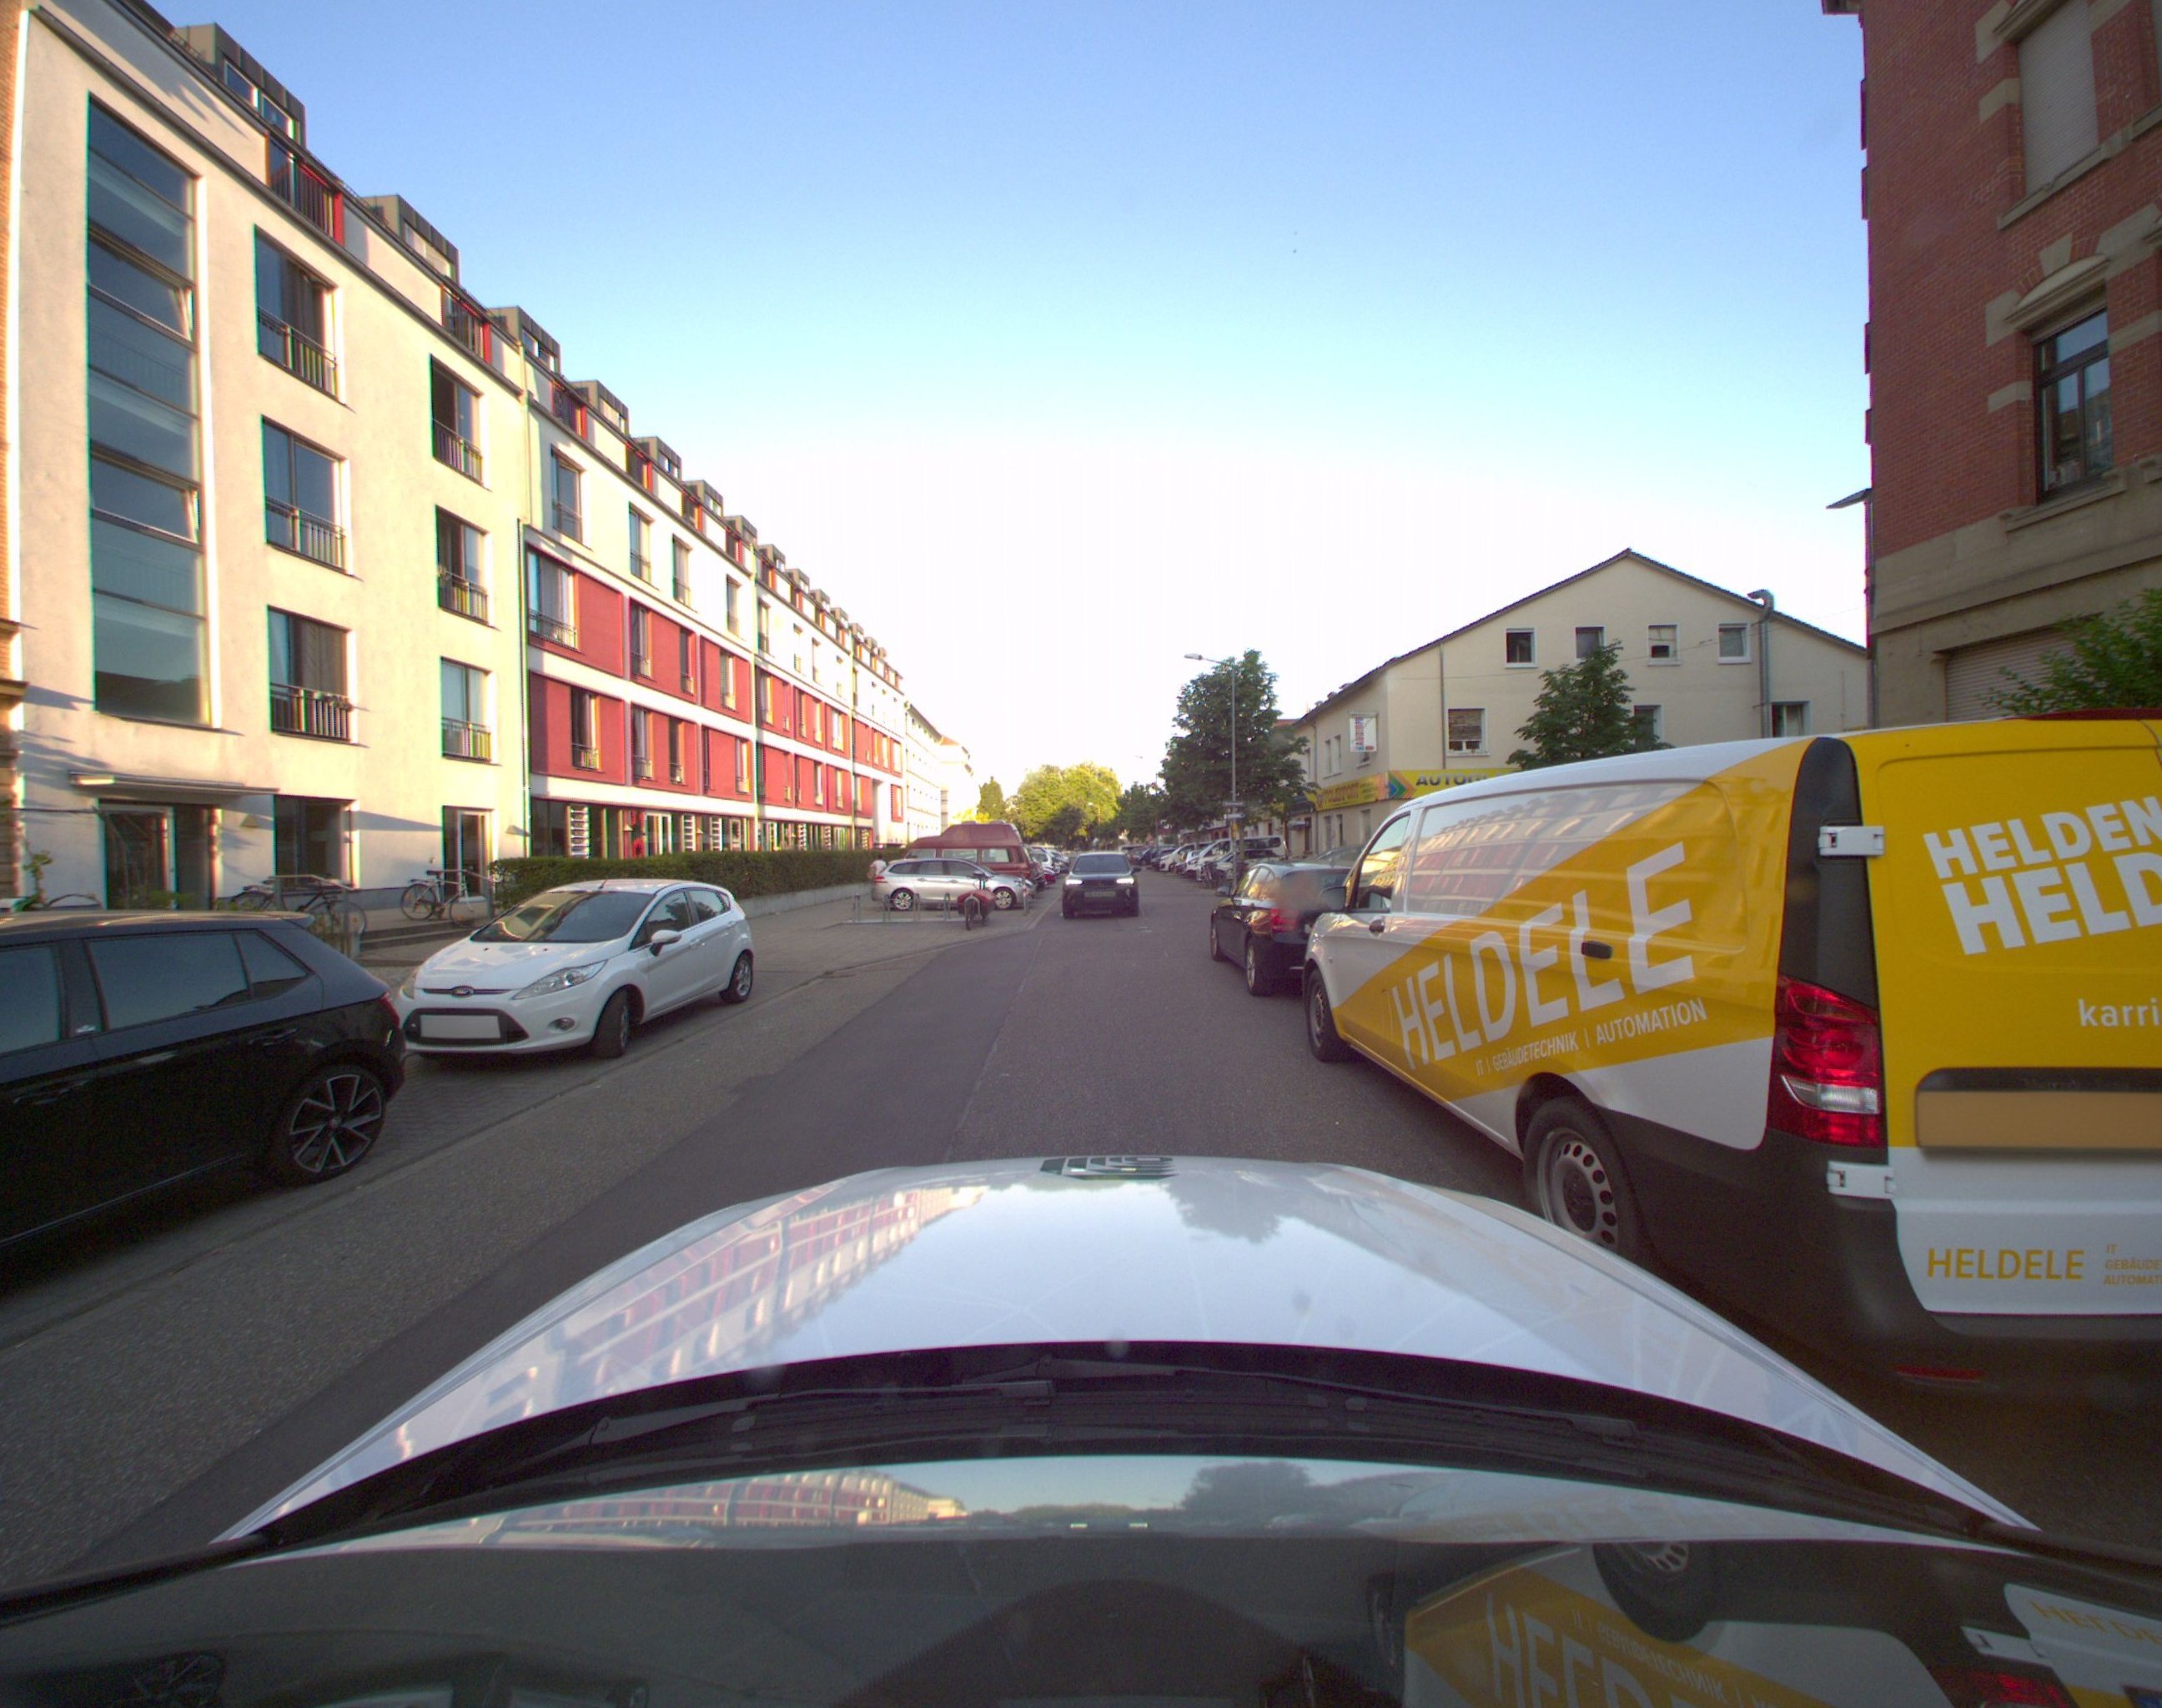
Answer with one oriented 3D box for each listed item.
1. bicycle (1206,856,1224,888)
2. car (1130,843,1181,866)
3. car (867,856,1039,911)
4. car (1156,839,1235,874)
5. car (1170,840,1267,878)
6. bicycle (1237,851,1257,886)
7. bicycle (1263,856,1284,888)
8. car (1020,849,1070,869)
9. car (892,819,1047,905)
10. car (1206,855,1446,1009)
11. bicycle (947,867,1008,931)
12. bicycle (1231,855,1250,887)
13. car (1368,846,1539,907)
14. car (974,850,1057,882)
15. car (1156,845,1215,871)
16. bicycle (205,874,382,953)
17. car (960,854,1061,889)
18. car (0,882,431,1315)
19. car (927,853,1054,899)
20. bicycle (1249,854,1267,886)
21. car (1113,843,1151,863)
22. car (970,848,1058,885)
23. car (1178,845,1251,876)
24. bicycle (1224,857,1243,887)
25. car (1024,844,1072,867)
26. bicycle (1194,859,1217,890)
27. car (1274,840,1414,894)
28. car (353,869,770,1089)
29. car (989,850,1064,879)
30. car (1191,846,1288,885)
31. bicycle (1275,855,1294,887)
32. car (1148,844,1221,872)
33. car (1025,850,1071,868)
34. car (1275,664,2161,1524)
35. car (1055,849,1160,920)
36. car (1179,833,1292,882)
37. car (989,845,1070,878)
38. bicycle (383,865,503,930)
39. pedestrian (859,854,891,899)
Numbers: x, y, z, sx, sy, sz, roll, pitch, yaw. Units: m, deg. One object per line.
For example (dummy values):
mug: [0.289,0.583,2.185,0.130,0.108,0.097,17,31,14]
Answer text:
bicycle: [5.273,0.694,32.065,0.384,1.200,2.018,-3,0,2]
car: [7.010,0.057,76.718,4.470,1.911,1.685,-3,0,-4]
car: [-3.511,0.804,23.031,4.604,1.460,1.879,0,0,-3]
car: [7.588,0.165,54.263,4.929,1.958,2.049,-3,0,-1]
car: [7.432,0.267,44.322,4.925,1.742,2.050,-3,0,2]
bicycle: [6.524,0.557,32.072,0.384,1.304,2.018,-3,0,2]
bicycle: [7.520,0.694,31.866,0.443,1.200,1.482,-3,0,2]
car: [-3.118,0.455,71.700,4.241,1.714,2.001,0,0,1]
car: [-3.423,0.227,25.608,4.493,2.584,2.001,0,0,2]
car: [2.645,0.738,9.838,1.715,1.424,4.254,0,0,1]
bicycle: [-2.197,0.922,17.710,0.804,1.221,2.867,0,0,3]
bicycle: [6.265,0.636,32.067,0.384,1.200,2.018,-3,0,2]
car: [10.092,0.588,22.257,3.914,1.455,1.658,-2,1,1]
car: [-3.440,0.627,43.687,4.241,1.660,2.001,0,0,1]
car: [8.194,0.309,63.987,4.303,1.804,1.810,-3,0,-1]
bicycle: [-11.938,0.887,12.390,1.908,1.141,0.812,0,0,2]
car: [-3.038,0.751,35.784,4.193,1.490,1.850,0,0,1]
car: [-4.876,0.958,3.057,1.697,1.534,3.845,-1,0,1]
car: [-3.050,0.738,28.172,4.196,1.538,1.790,0,0,-1]
bicycle: [6.941,0.608,31.908,0.384,1.200,1.482,-3,0,2]
car: [5.782,-0.116,92.209,3.960,1.911,2.047,-3,0,-4]
car: [-3.318,0.598,41.211,4.241,1.836,2.001,0,0,1]
car: [7.653,0.336,46.953,3.897,1.526,1.940,-3,0,2]
bicycle: [5.983,0.704,32.086,0.384,1.114,2.018,-3,0,2]
car: [-3.145,0.139,79.112,4.517,2.134,2.001,0,0,1]
bicycle: [4.856,0.785,31.886,0.437,1.130,2.014,-3,0,-4]
car: [8.571,0.401,26.807,4.035,1.514,1.757,-3,2,2]
car: [-4.680,0.976,8.155,1.646,1.530,4.015,-1,0,-1]
car: [-3.153,0.613,48.039,4.241,1.652,1.888,0,0,1]
car: [6.980,0.488,36.195,3.907,1.451,1.767,-3,0,-2]
bicycle: [7.947,0.667,31.849,0.351,1.200,1.482,-3,0,2]
car: [7.448,0.269,59.091,4.929,1.689,2.076,-3,0,-1]
car: [-3.058,0.459,76.473,4.241,1.749,2.001,0,0,1]
car: [2.551,0.509,4.337,1.886,1.884,5.083,-1,0,1]
car: [0.772,0.676,20.275,1.767,1.517,4.015,-3,0,13]
car: [7.309,0.158,38.977,4.971,1.983,2.221,-3,0,1]
car: [-3.167,0.461,50.596,4.833,2.021,1.907,0,0,1]
bicycle: [-11.745,0.784,15.012,1.768,1.148,0.611,0,0,3]
pedestrian: [-6.947,0.758,27.511,0.829,1.501,0.798,0,0,2]
